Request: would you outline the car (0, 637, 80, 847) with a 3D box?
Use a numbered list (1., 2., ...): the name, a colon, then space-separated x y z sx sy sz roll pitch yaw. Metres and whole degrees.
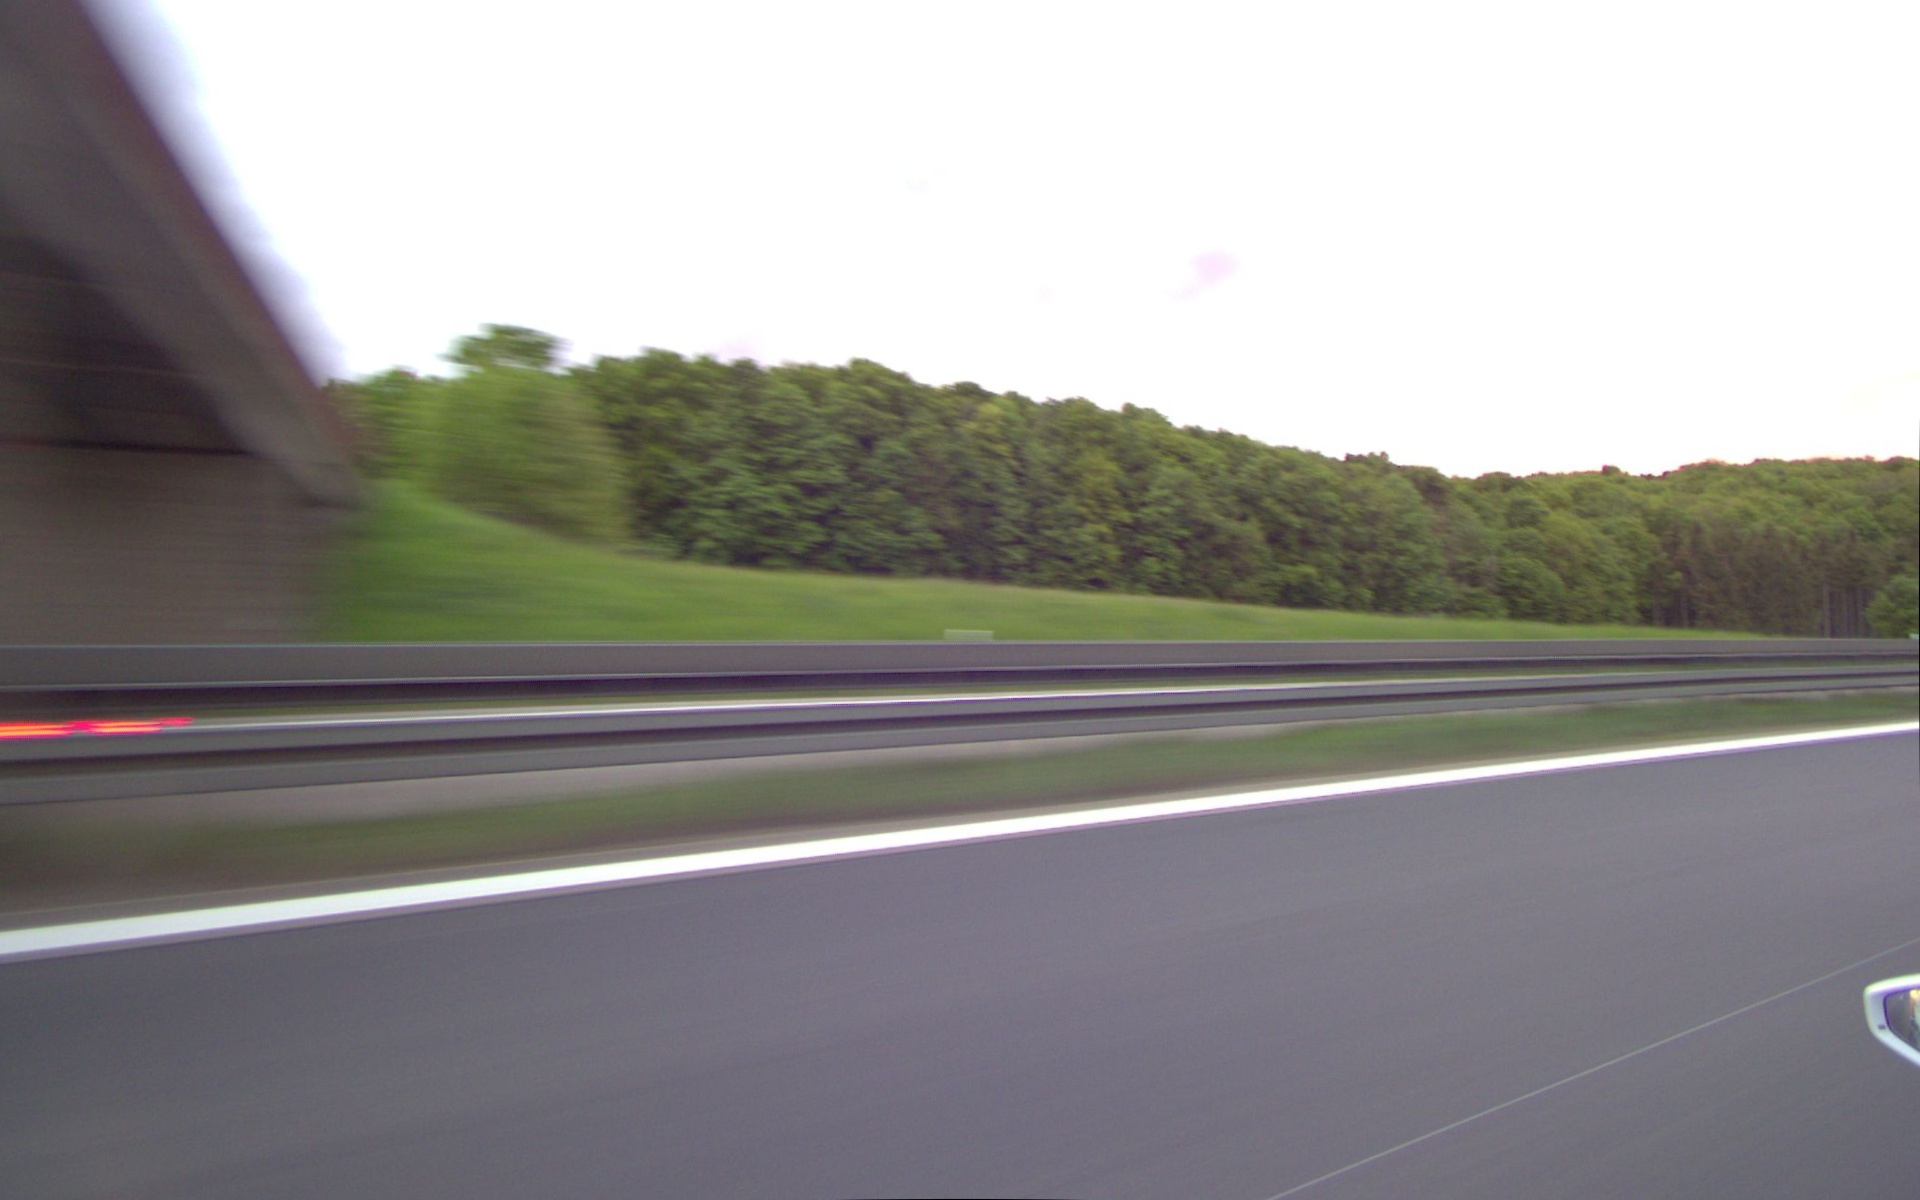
1. car: -9.177 1.042 7.252 3.954 1.439 1.724 2 2 -31
